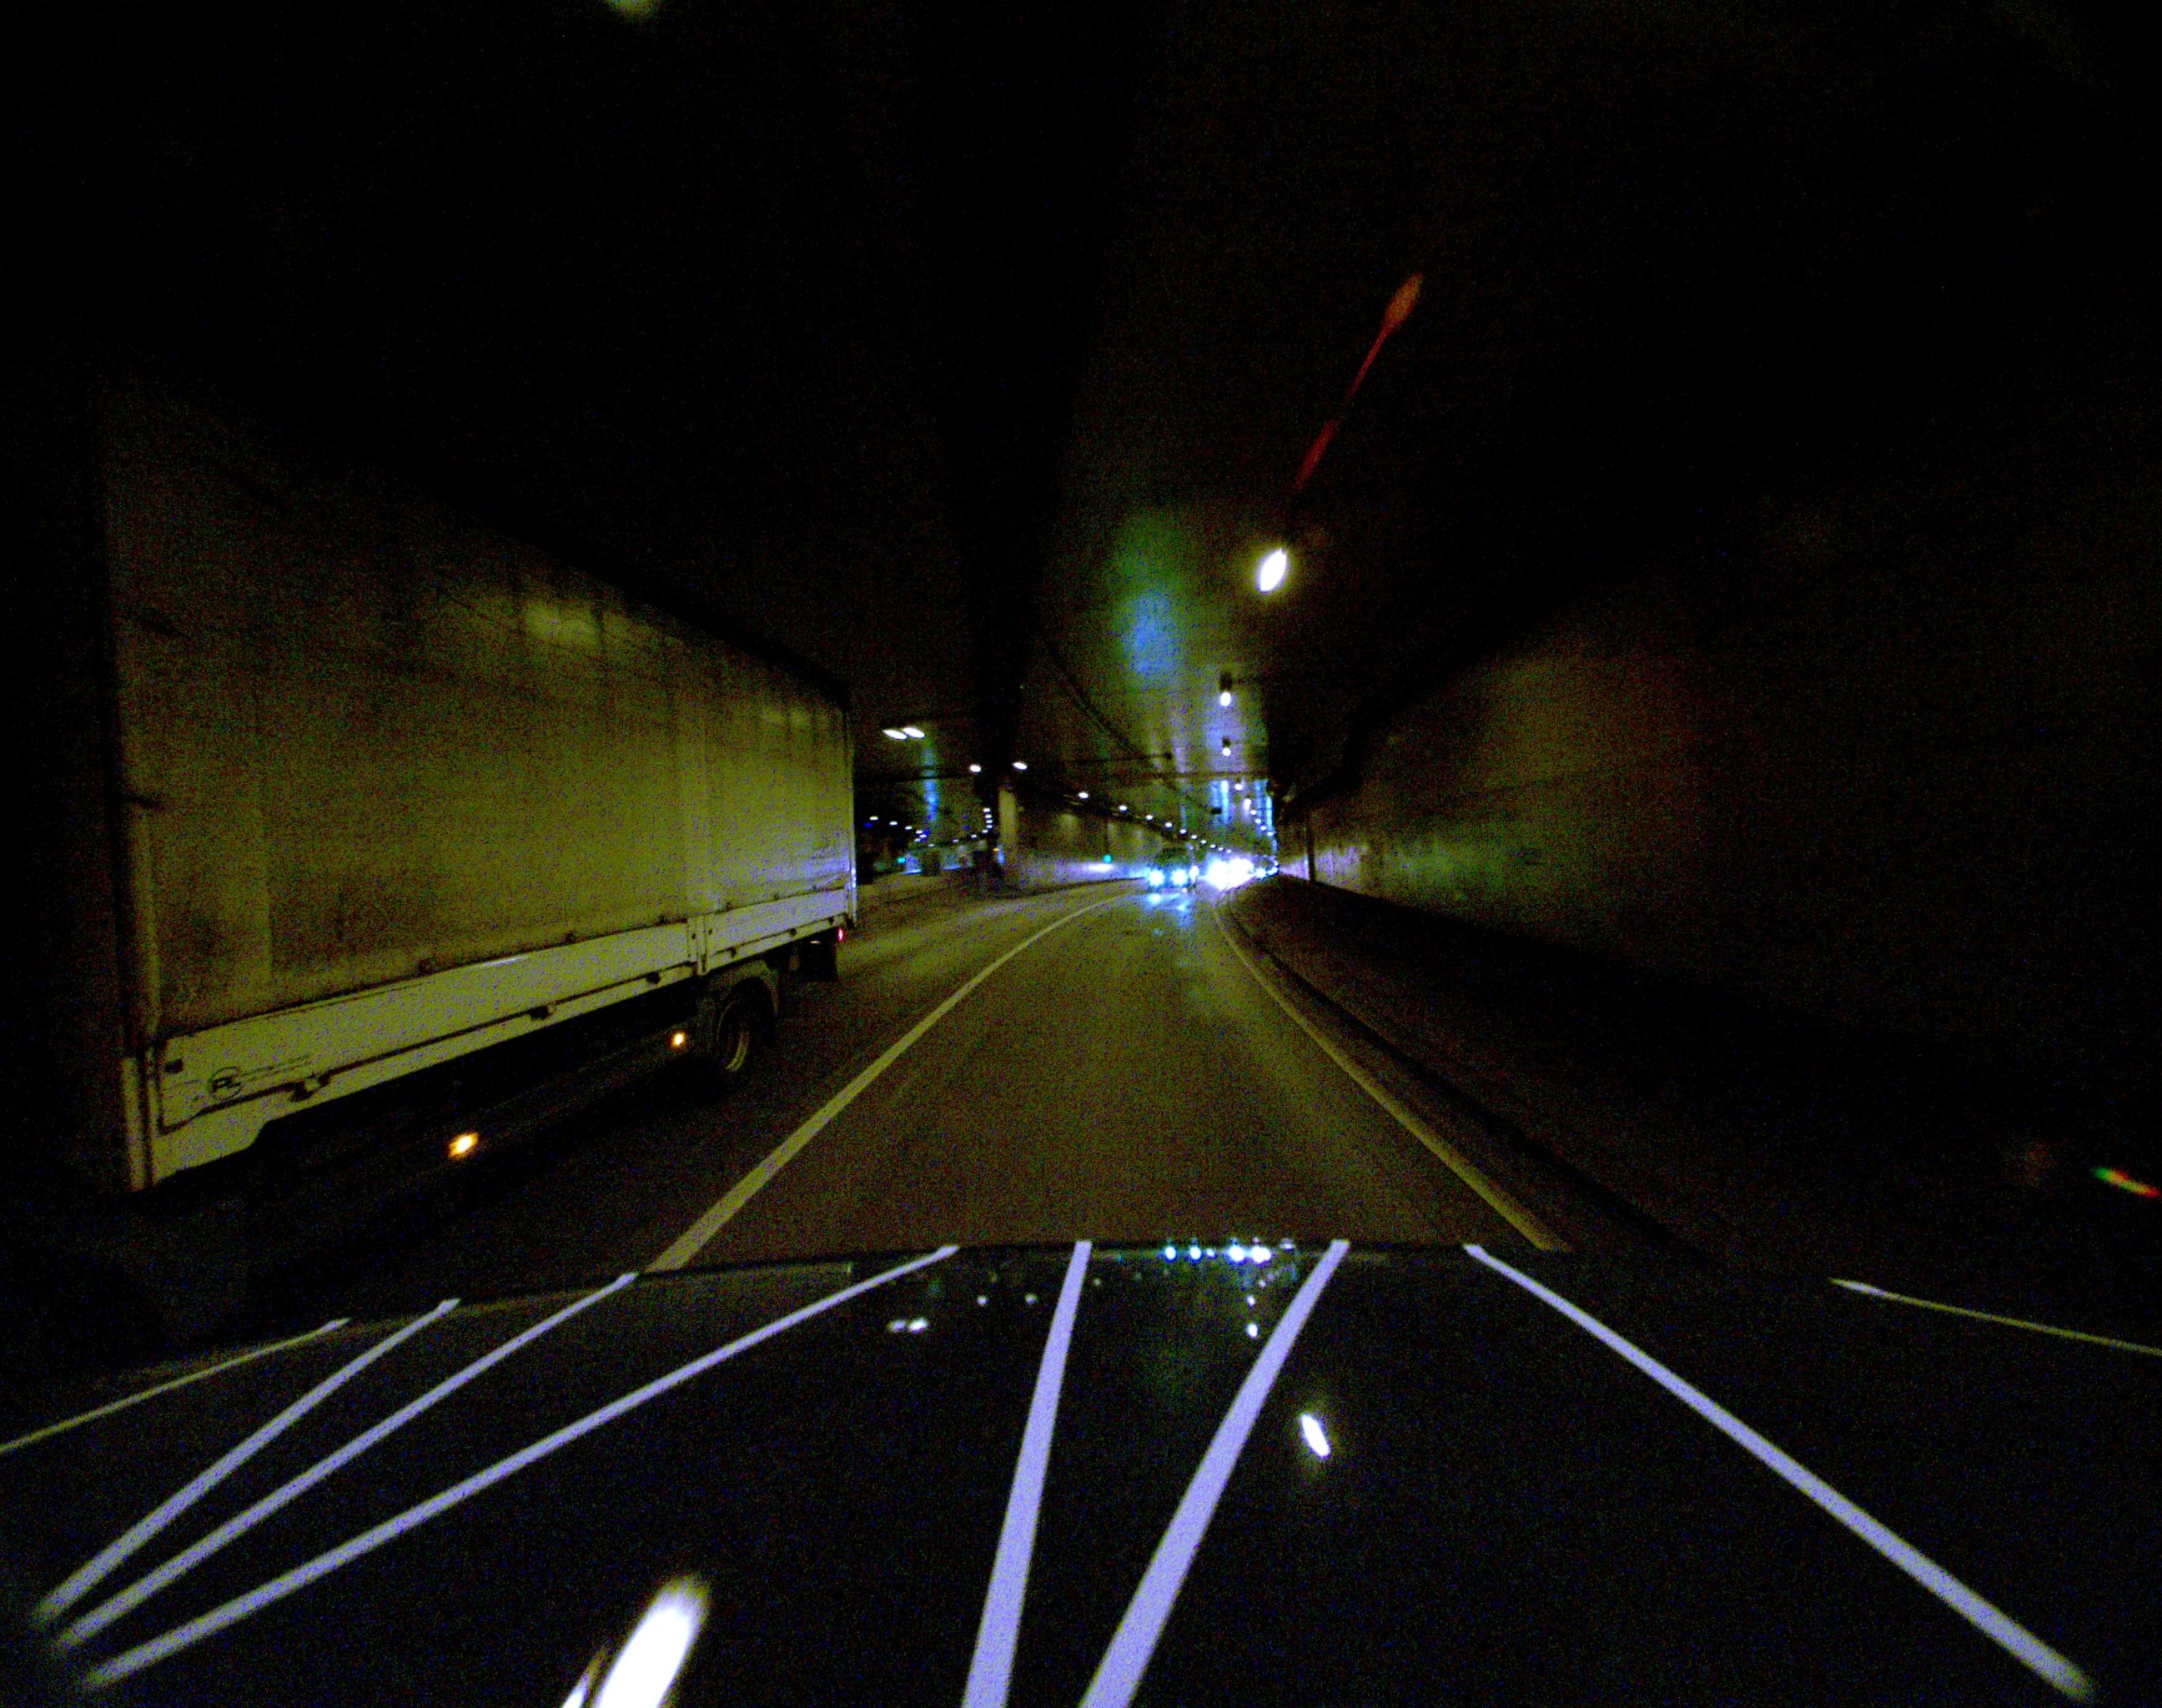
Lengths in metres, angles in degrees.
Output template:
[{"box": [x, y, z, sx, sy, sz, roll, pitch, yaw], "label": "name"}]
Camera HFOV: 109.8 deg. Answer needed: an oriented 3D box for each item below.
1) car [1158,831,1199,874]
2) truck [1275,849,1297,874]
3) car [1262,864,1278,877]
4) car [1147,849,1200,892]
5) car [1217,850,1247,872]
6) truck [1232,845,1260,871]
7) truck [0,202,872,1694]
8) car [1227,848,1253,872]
[{"box": [7.336, 0.009, 56.459, 2.104, 2.829, 6.872, -2, -3, 14], "label": "car"}, {"box": [42.570, 1.541, 157.604, 2.883, 4.446, 10.467, -5, 0, 22], "label": "truck"}, {"box": [29.461, 2.544, 118.319, 1.948, 1.525, 4.004, -5, 1, 19], "label": "car"}, {"box": [3.686, 0.626, 29.815, 1.637, 1.551, 3.720, -2, 0, 13], "label": "car"}, {"box": [11.734, 0.513, 58.814, 1.762, 1.551, 3.823, -5, -1, 17], "label": "car"}, {"box": [18.741, 0.435, 85.914, 2.071, 2.524, 6.031, -5, 0, 21], "label": "truck"}, {"box": [-3.483, 0.173, 3.569, 2.559, 3.163, 7.245, -2, 1, 3], "label": "truck"}, {"box": [14.889, 0.613, 70.941, 1.933, 1.917, 4.204, -4, -4, 16], "label": "car"}]
